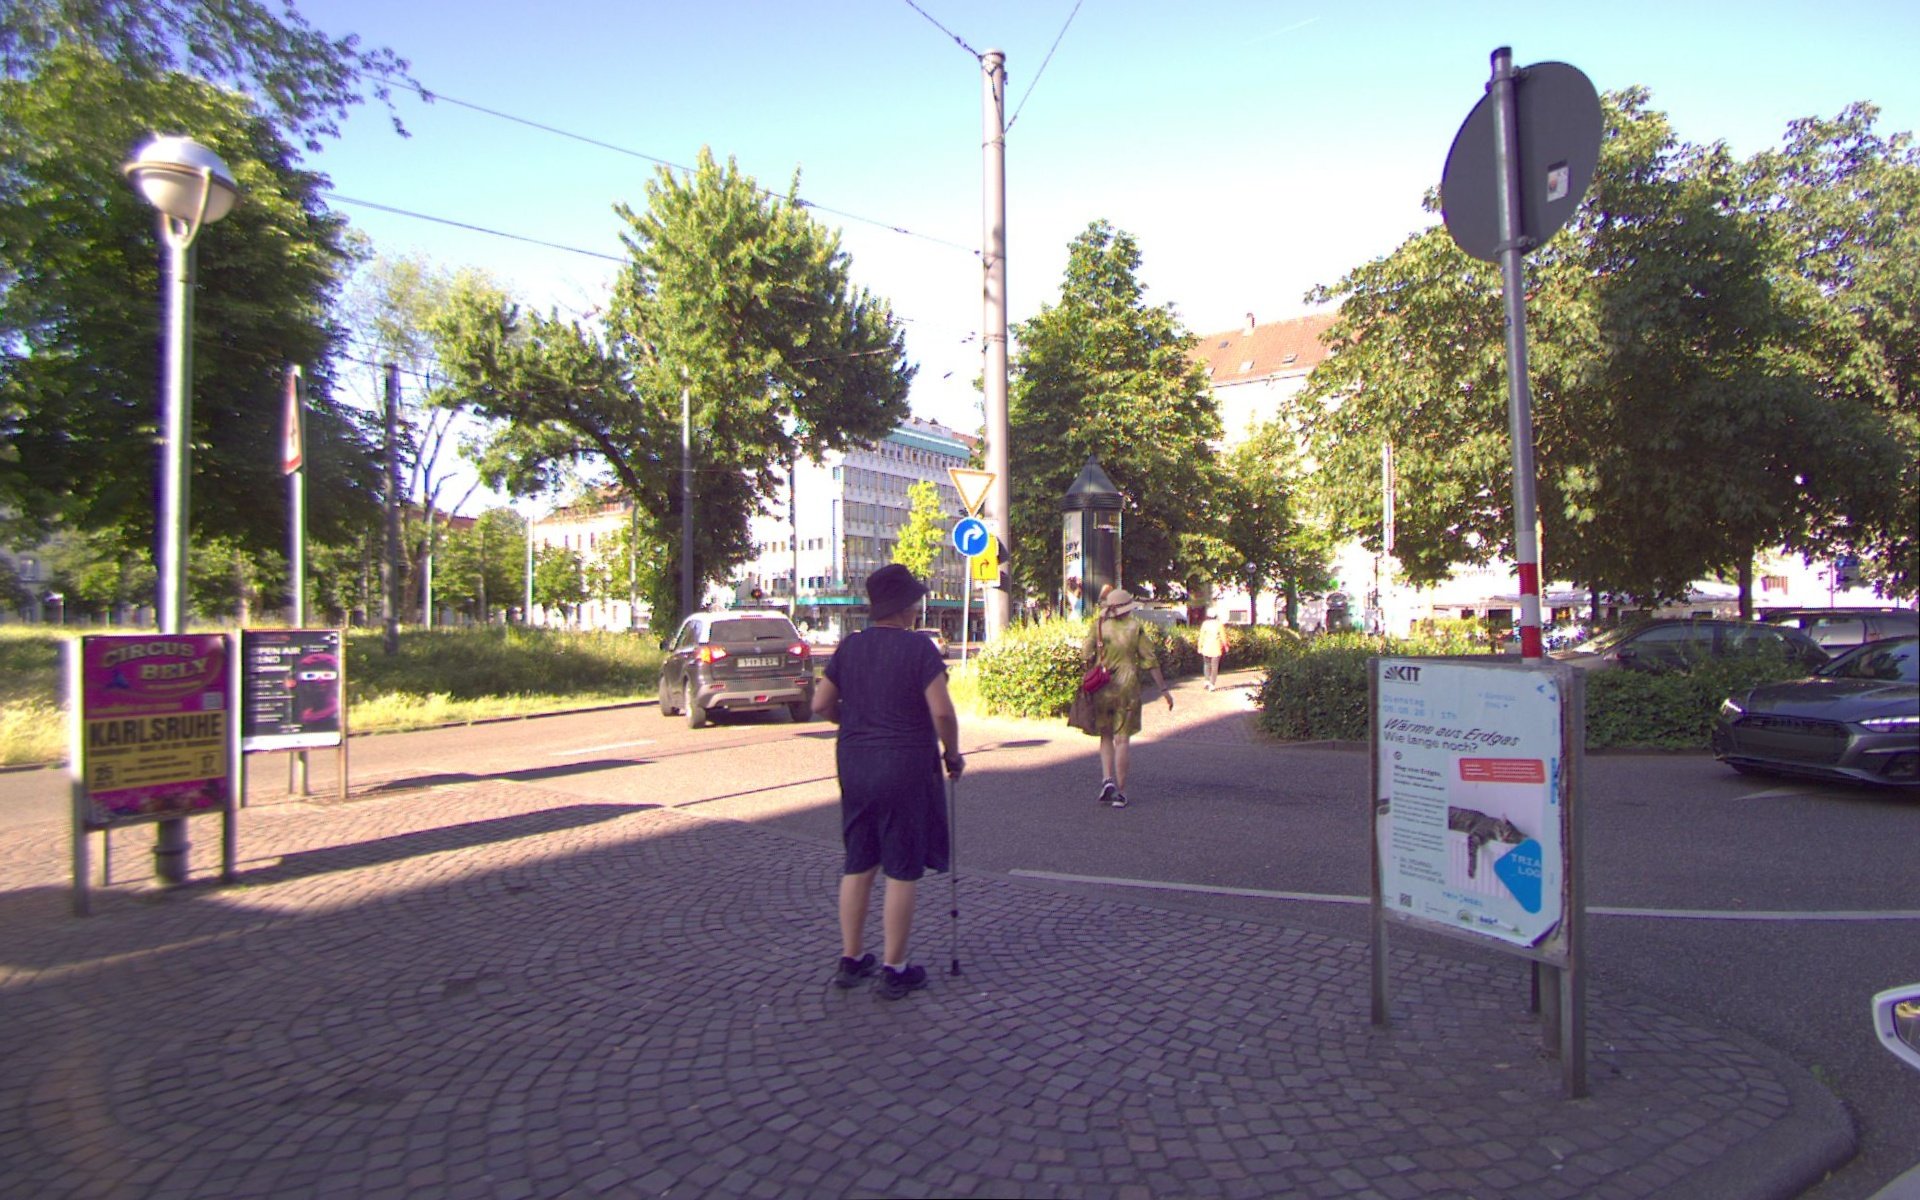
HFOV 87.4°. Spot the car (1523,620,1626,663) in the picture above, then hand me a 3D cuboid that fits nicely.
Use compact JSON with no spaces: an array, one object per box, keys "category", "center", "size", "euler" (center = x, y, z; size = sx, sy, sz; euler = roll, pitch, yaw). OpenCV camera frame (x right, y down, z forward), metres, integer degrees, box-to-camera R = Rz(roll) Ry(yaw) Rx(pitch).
[{"category":"car","center":[28.202,1.891,46.154],"size":[3.857,1.794,1.973],"euler":[1,-1,37]}]

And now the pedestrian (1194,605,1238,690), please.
[{"category":"pedestrian","center":[4.843,0.890,19.019],"size":[0.755,1.542,0.959],"euler":[1,0,15]}]

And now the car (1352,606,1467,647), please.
[{"category":"car","center":[24.535,1.407,54.918],"size":[5.499,2.040,1.813],"euler":[1,-1,34]}]

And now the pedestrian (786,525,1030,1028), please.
[{"category":"pedestrian","center":[-0.210,0.603,3.836],"size":[0.684,1.694,0.633],"euler":[2,-1,-30]}]

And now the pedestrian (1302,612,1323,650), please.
[{"category":"pedestrian","center":[14.591,1.286,41.576],"size":[0.549,1.567,0.671],"euler":[2,0,-13]}]

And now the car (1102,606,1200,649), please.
[{"category":"car","center":[11.122,1.562,58.610],"size":[5.268,2.345,1.993],"euler":[1,-1,37]}]

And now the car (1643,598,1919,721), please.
[{"category":"car","center":[13.209,0.839,15.660],"size":[3.945,1.690,1.988],"euler":[1,0,44]}]

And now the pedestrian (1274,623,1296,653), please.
[{"category":"pedestrian","center":[13.752,1.594,42.488],"size":[0.553,1.253,0.666],"euler":[2,-1,-38]}]

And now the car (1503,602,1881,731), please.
[{"category":"car","center":[9.867,0.838,13.980],"size":[3.924,1.489,1.873],"euler":[1,-1,25]}]

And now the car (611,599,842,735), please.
[{"category":"car","center":[-3.515,0.911,14.671],"size":[1.797,1.704,3.827],"euler":[2,-2,-39]}]

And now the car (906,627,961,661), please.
[{"category":"car","center":[-1.194,2.043,47.213],"size":[1.959,1.442,4.199],"euler":[1,-1,6]}]

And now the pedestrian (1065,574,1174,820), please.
[{"category":"pedestrian","center":[1.217,0.689,7.569],"size":[0.656,1.722,0.805],"euler":[1,-1,18]}]

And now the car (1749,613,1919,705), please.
[{"category":"car","center":[17.718,1.102,19.077],"size":[1.731,1.619,3.963],"euler":[2,-1,-33]}]

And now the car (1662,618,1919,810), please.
[{"category":"car","center":[9.132,0.951,9.254],"size":[4.734,1.435,1.910],"euler":[2,-1,-18]}]

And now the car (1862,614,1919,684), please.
[{"category":"car","center":[22.780,1.130,21.656],"size":[4.772,1.508,1.758],"euler":[1,-1,37]}]

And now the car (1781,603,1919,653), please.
[{"category":"car","center":[36.537,1.123,40.409],"size":[5.191,1.823,2.158],"euler":[1,-1,34]}]

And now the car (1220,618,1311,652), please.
[{"category":"car","center":[18.167,2.077,59.865],"size":[4.796,1.828,1.901],"euler":[1,-1,38]}]
